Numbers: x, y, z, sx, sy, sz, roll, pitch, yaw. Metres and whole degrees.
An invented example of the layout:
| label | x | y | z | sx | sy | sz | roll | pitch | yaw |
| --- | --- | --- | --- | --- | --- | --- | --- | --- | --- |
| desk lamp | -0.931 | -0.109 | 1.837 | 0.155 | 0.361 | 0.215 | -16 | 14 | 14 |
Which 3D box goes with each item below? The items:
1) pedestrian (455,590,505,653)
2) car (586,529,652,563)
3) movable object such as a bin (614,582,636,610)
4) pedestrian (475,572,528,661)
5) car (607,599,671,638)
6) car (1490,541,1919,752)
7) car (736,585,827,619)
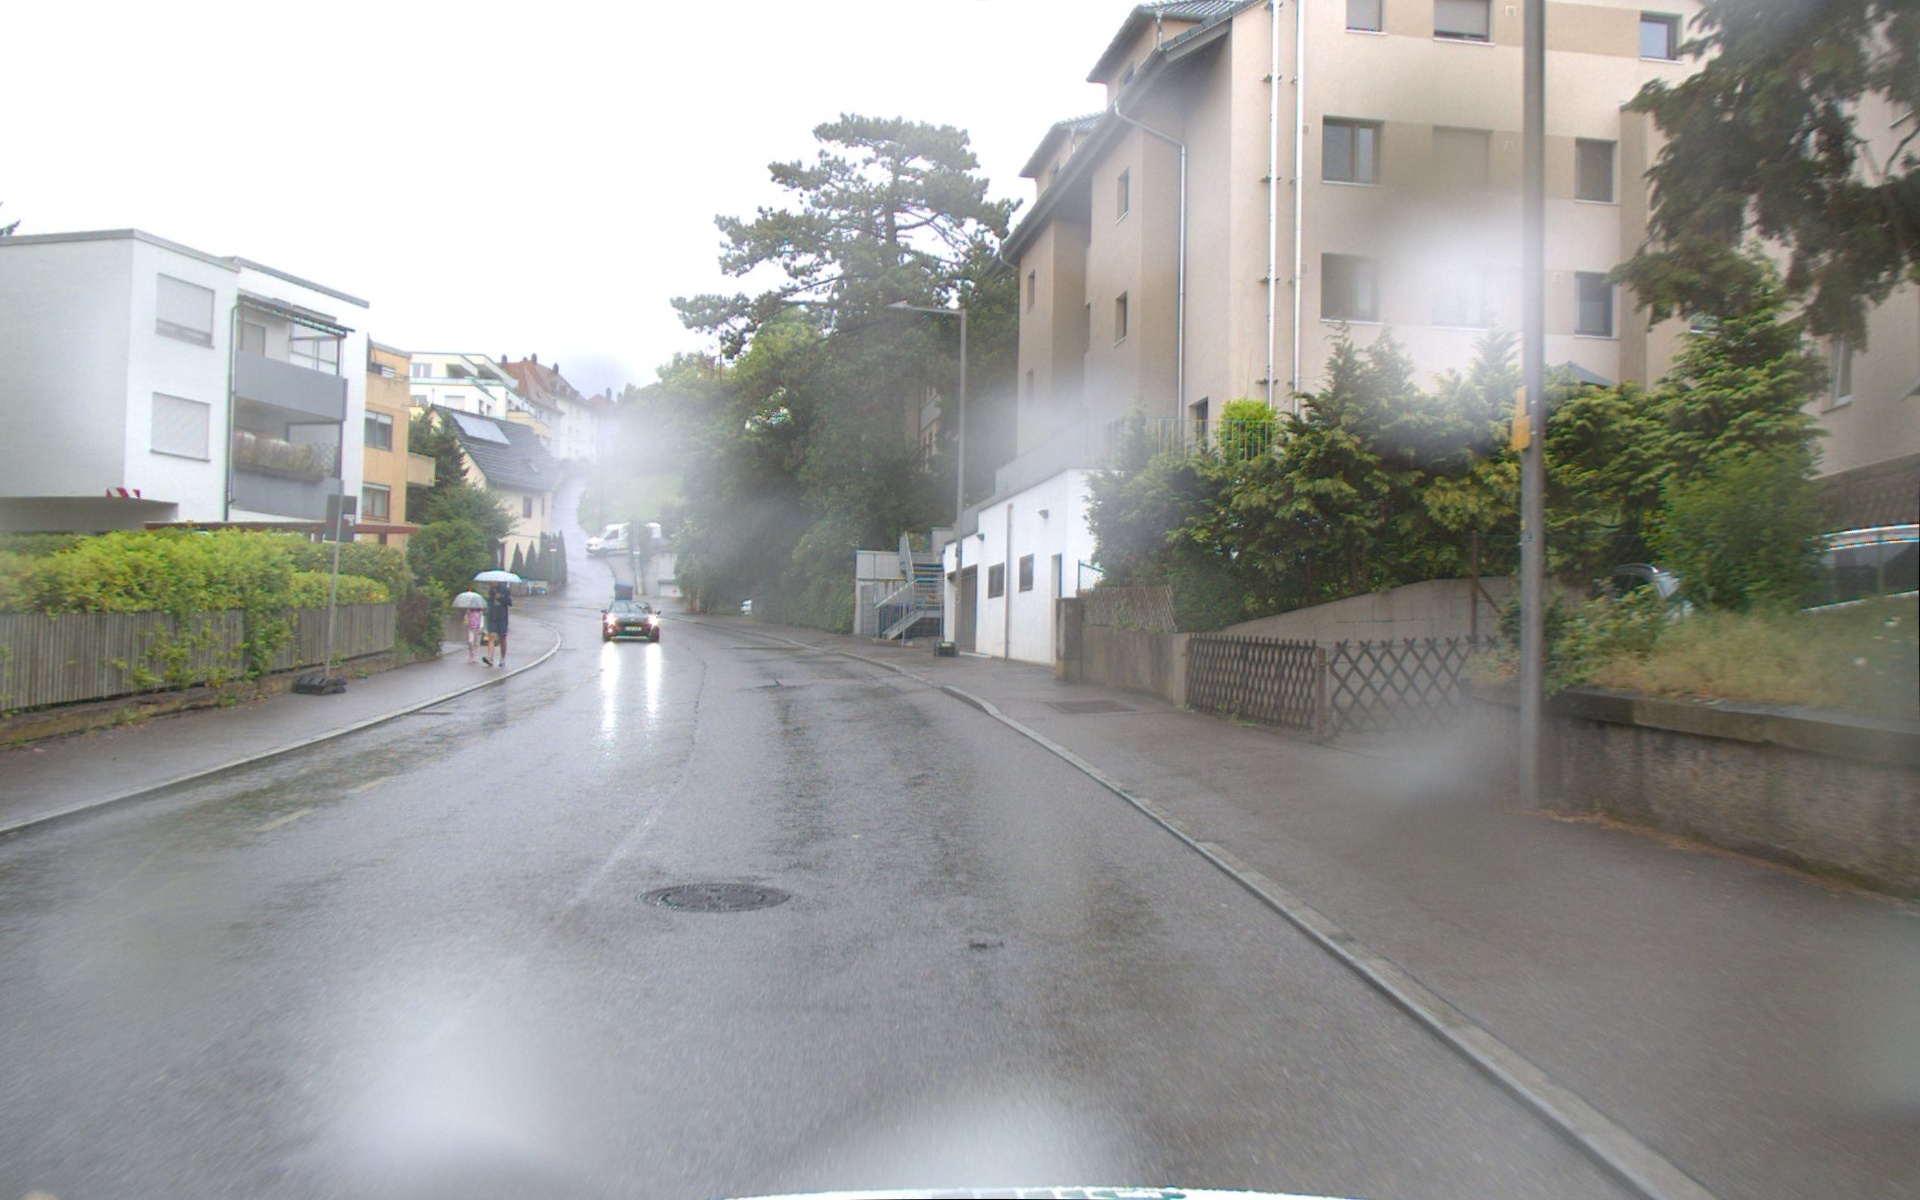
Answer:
| label | x | y | z | sx | sy | sz | roll | pitch | yaw |
| --- | --- | --- | --- | --- | --- | --- | --- | --- | --- |
| pedestrian | -9.650 | 0.419 | 33.296 | 0.742 | 1.200 | 1.038 | 4 | -1 | -8 |
| car | -27.010 | -4.270 | 131.033 | 4.872 | 2.614 | 1.893 | -1 | 1 | -21 |
| movable object such as a bin | -18.390 | -0.207 | 90.766 | 1.063 | 1.467 | 1.452 | 2 | 0 | -14 |
| pedestrian | -8.948 | 0.317 | 32.310 | 0.742 | 1.672 | 1.038 | 4 | -1 | -8 |
| car | -10.223 | 0.574 | 52.836 | 1.647 | 1.166 | 3.995 | 0 | 0 | -6 |
| car | 6.958 | 0.368 | 14.240 | 4.226 | 1.682 | 1.964 | 0 | 0 | 4 |
| car | -8.626 | 0.077 | 79.723 | 4.078 | 1.502 | 1.895 | -1 | 1 | -17 |
